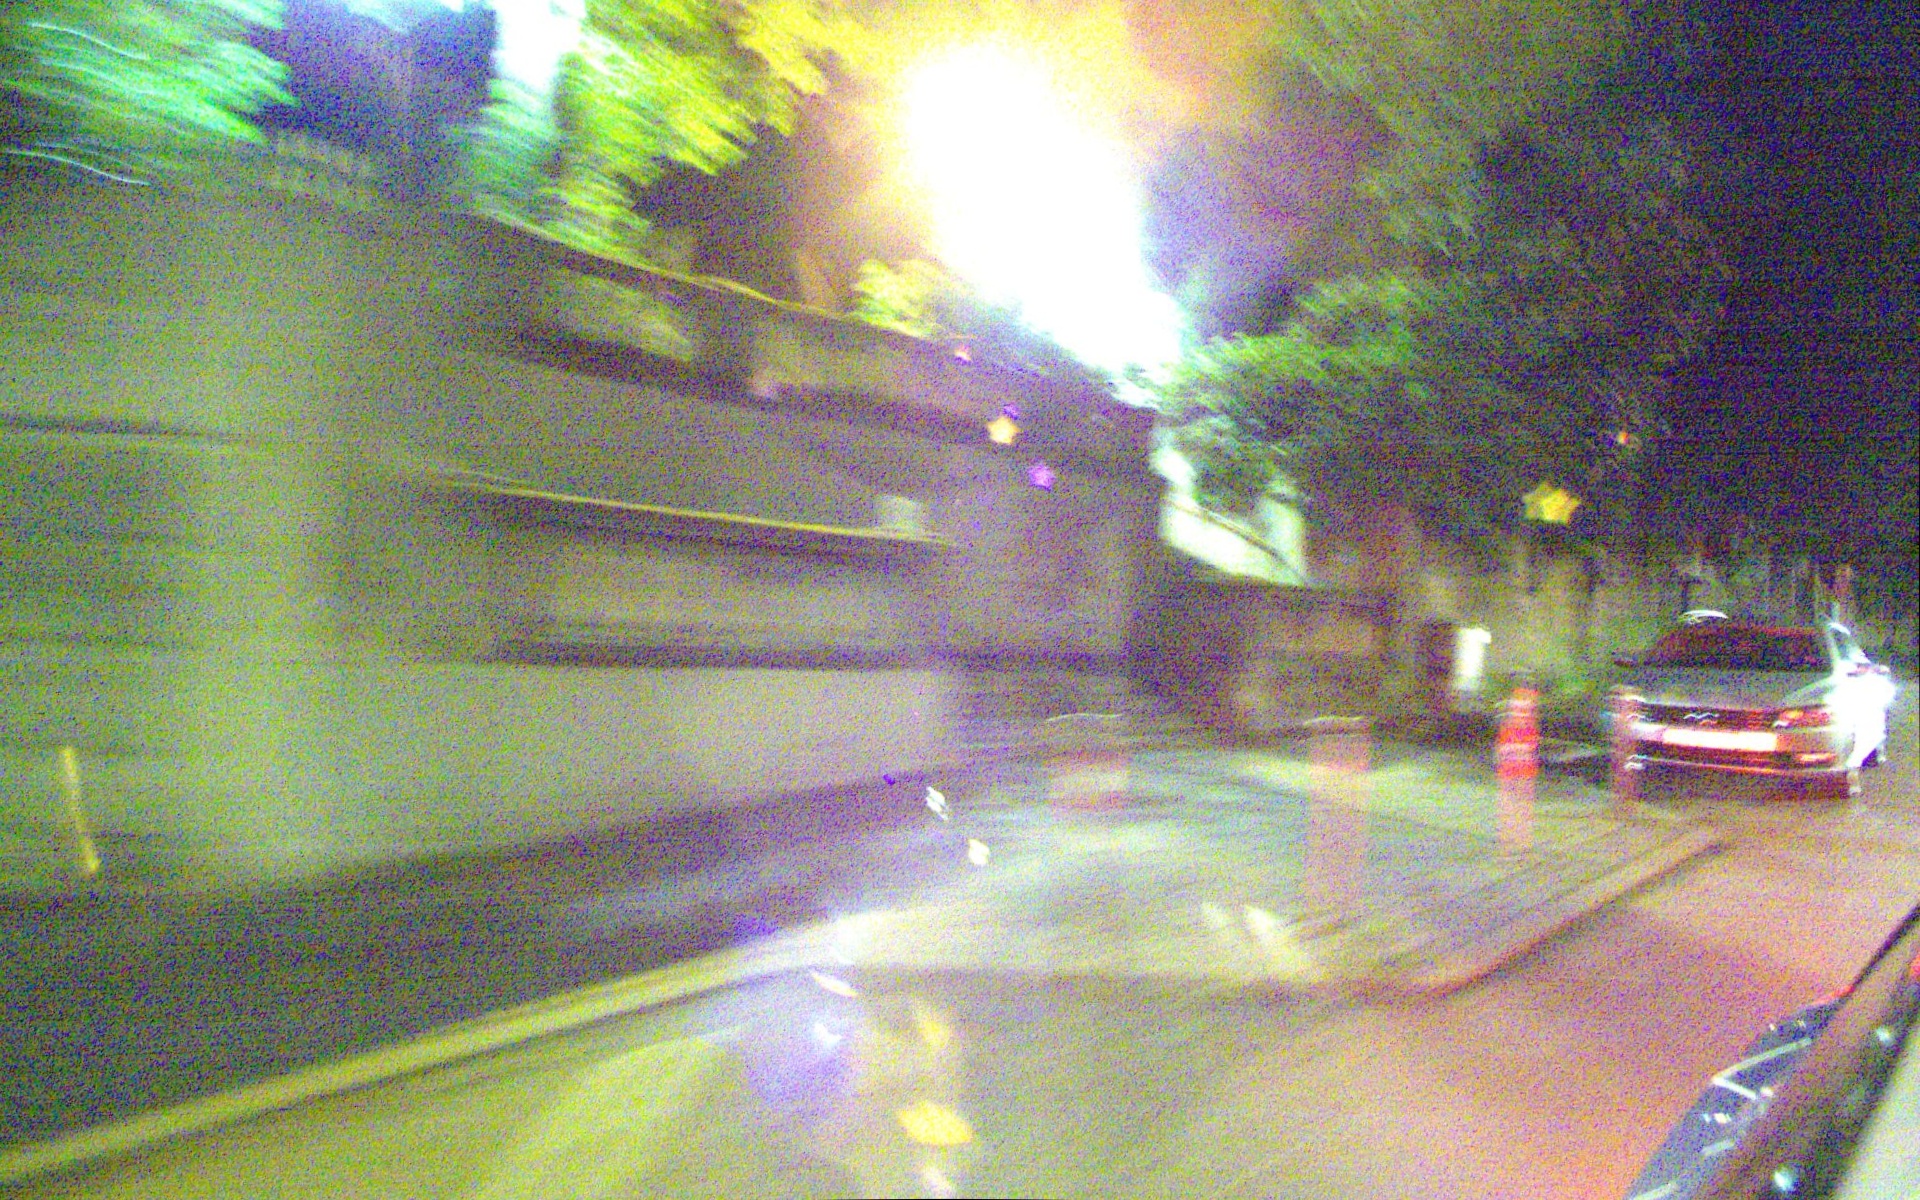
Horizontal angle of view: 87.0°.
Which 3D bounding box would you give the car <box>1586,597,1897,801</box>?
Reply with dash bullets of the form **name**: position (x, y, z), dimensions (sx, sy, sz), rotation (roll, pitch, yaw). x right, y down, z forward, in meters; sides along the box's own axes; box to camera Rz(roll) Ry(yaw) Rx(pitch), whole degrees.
- **car**: position (7.504, 0.758, 9.551), dimensions (4.205, 1.494, 1.764), rotation (1, -2, -45)
